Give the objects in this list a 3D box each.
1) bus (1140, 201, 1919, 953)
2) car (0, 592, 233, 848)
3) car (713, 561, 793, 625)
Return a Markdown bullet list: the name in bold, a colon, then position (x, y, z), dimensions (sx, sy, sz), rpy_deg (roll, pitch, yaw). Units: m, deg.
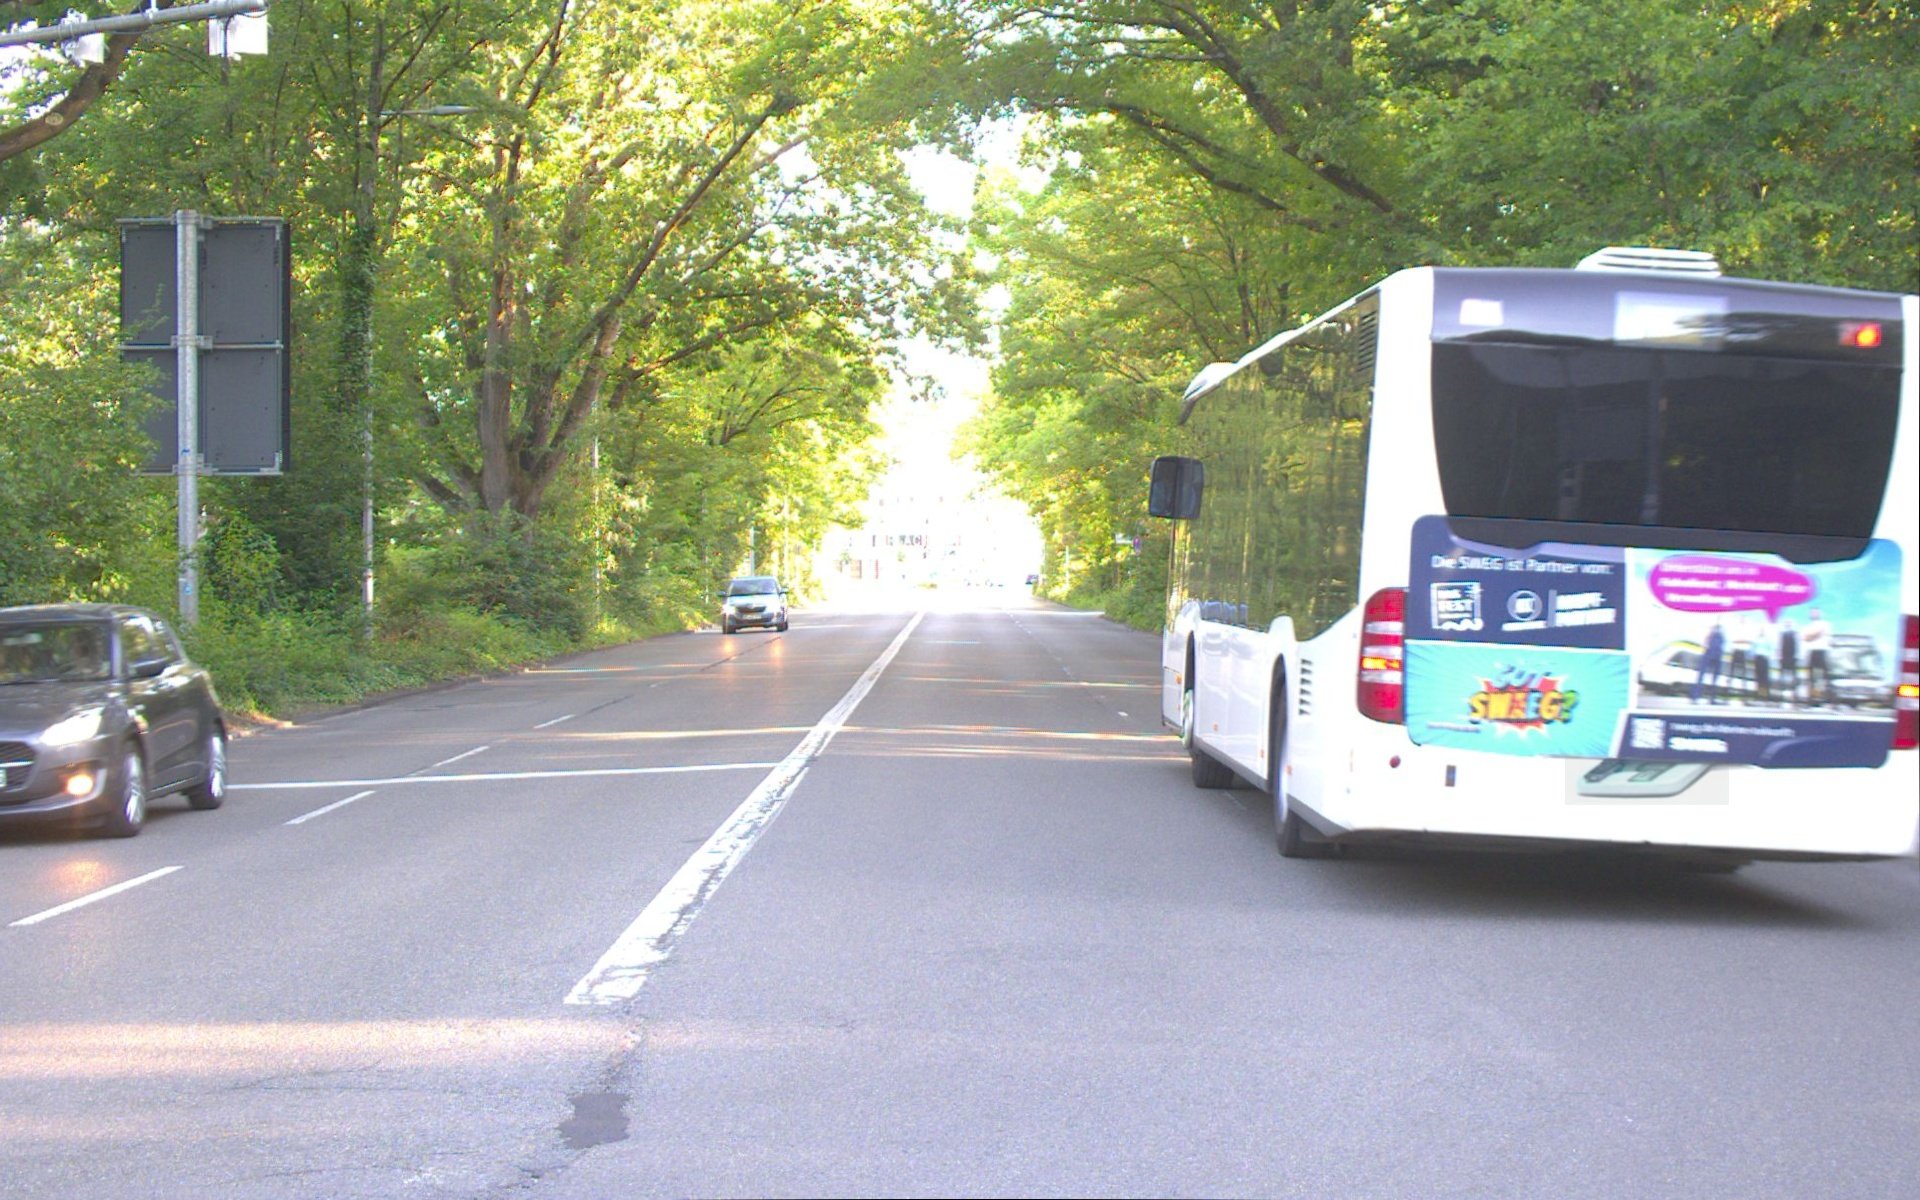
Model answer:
- **bus**: position (3.014, -0.151, 20.694), dimensions (3.012, 3.077, 12.270), rpy_deg (2, 1, 0)
- **car**: position (-5.917, 0.722, 22.002), dimensions (1.707, 1.448, 3.640), rpy_deg (-2, 1, 0)
- **car**: position (-5.479, -0.212, 91.219), dimensions (1.806, 1.574, 4.319), rpy_deg (-2, 1, 0)
